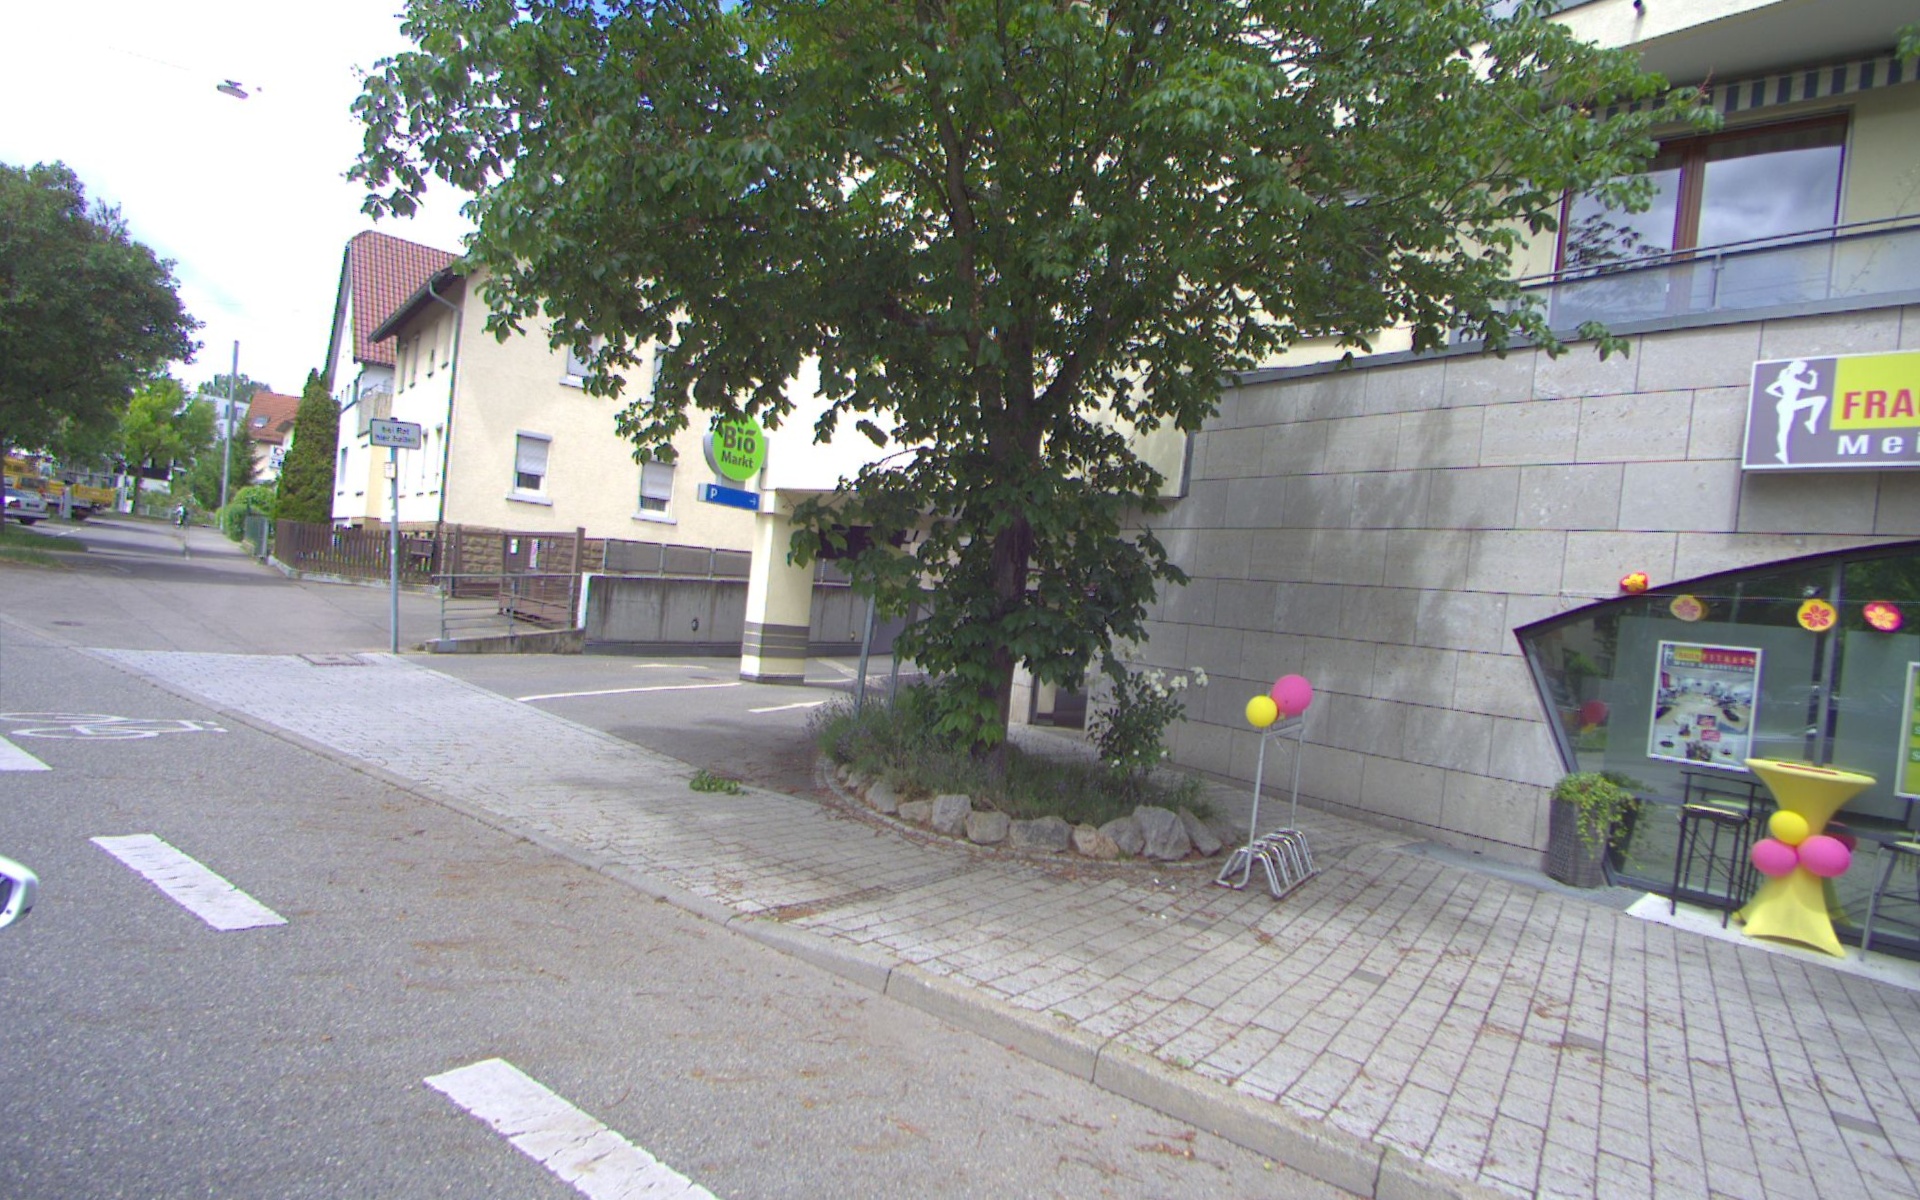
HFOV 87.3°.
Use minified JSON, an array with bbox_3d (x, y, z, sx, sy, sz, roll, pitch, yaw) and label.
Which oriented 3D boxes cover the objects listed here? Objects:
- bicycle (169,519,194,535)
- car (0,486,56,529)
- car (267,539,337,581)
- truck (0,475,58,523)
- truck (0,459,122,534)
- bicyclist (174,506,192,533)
[{"bbox_3d":[-49.196,-4.588,63.603,1.725,0.821,0.595,6,-2,31],"label":"bicycle"},{"bbox_3d":[-39.261,-3.932,40.180,4.603,1.469,1.768,7,0,0],"label":"car"},{"bbox_3d":[-22.941,-1.410,35.016,1.457,1.137,3.828,9,-3,-41],"label":"car"},{"bbox_3d":[-49.451,-5.375,50.812,5.575,2.036,2.001,8,-2,-3],"label":"truck"},{"bbox_3d":[-49.550,-5.660,53.848,6.585,3.042,2.771,8,-2,-2],"label":"truck"},{"bbox_3d":[-49.152,-5.104,63.626,0.557,1.577,0.590,6,-2,31],"label":"bicyclist"}]
